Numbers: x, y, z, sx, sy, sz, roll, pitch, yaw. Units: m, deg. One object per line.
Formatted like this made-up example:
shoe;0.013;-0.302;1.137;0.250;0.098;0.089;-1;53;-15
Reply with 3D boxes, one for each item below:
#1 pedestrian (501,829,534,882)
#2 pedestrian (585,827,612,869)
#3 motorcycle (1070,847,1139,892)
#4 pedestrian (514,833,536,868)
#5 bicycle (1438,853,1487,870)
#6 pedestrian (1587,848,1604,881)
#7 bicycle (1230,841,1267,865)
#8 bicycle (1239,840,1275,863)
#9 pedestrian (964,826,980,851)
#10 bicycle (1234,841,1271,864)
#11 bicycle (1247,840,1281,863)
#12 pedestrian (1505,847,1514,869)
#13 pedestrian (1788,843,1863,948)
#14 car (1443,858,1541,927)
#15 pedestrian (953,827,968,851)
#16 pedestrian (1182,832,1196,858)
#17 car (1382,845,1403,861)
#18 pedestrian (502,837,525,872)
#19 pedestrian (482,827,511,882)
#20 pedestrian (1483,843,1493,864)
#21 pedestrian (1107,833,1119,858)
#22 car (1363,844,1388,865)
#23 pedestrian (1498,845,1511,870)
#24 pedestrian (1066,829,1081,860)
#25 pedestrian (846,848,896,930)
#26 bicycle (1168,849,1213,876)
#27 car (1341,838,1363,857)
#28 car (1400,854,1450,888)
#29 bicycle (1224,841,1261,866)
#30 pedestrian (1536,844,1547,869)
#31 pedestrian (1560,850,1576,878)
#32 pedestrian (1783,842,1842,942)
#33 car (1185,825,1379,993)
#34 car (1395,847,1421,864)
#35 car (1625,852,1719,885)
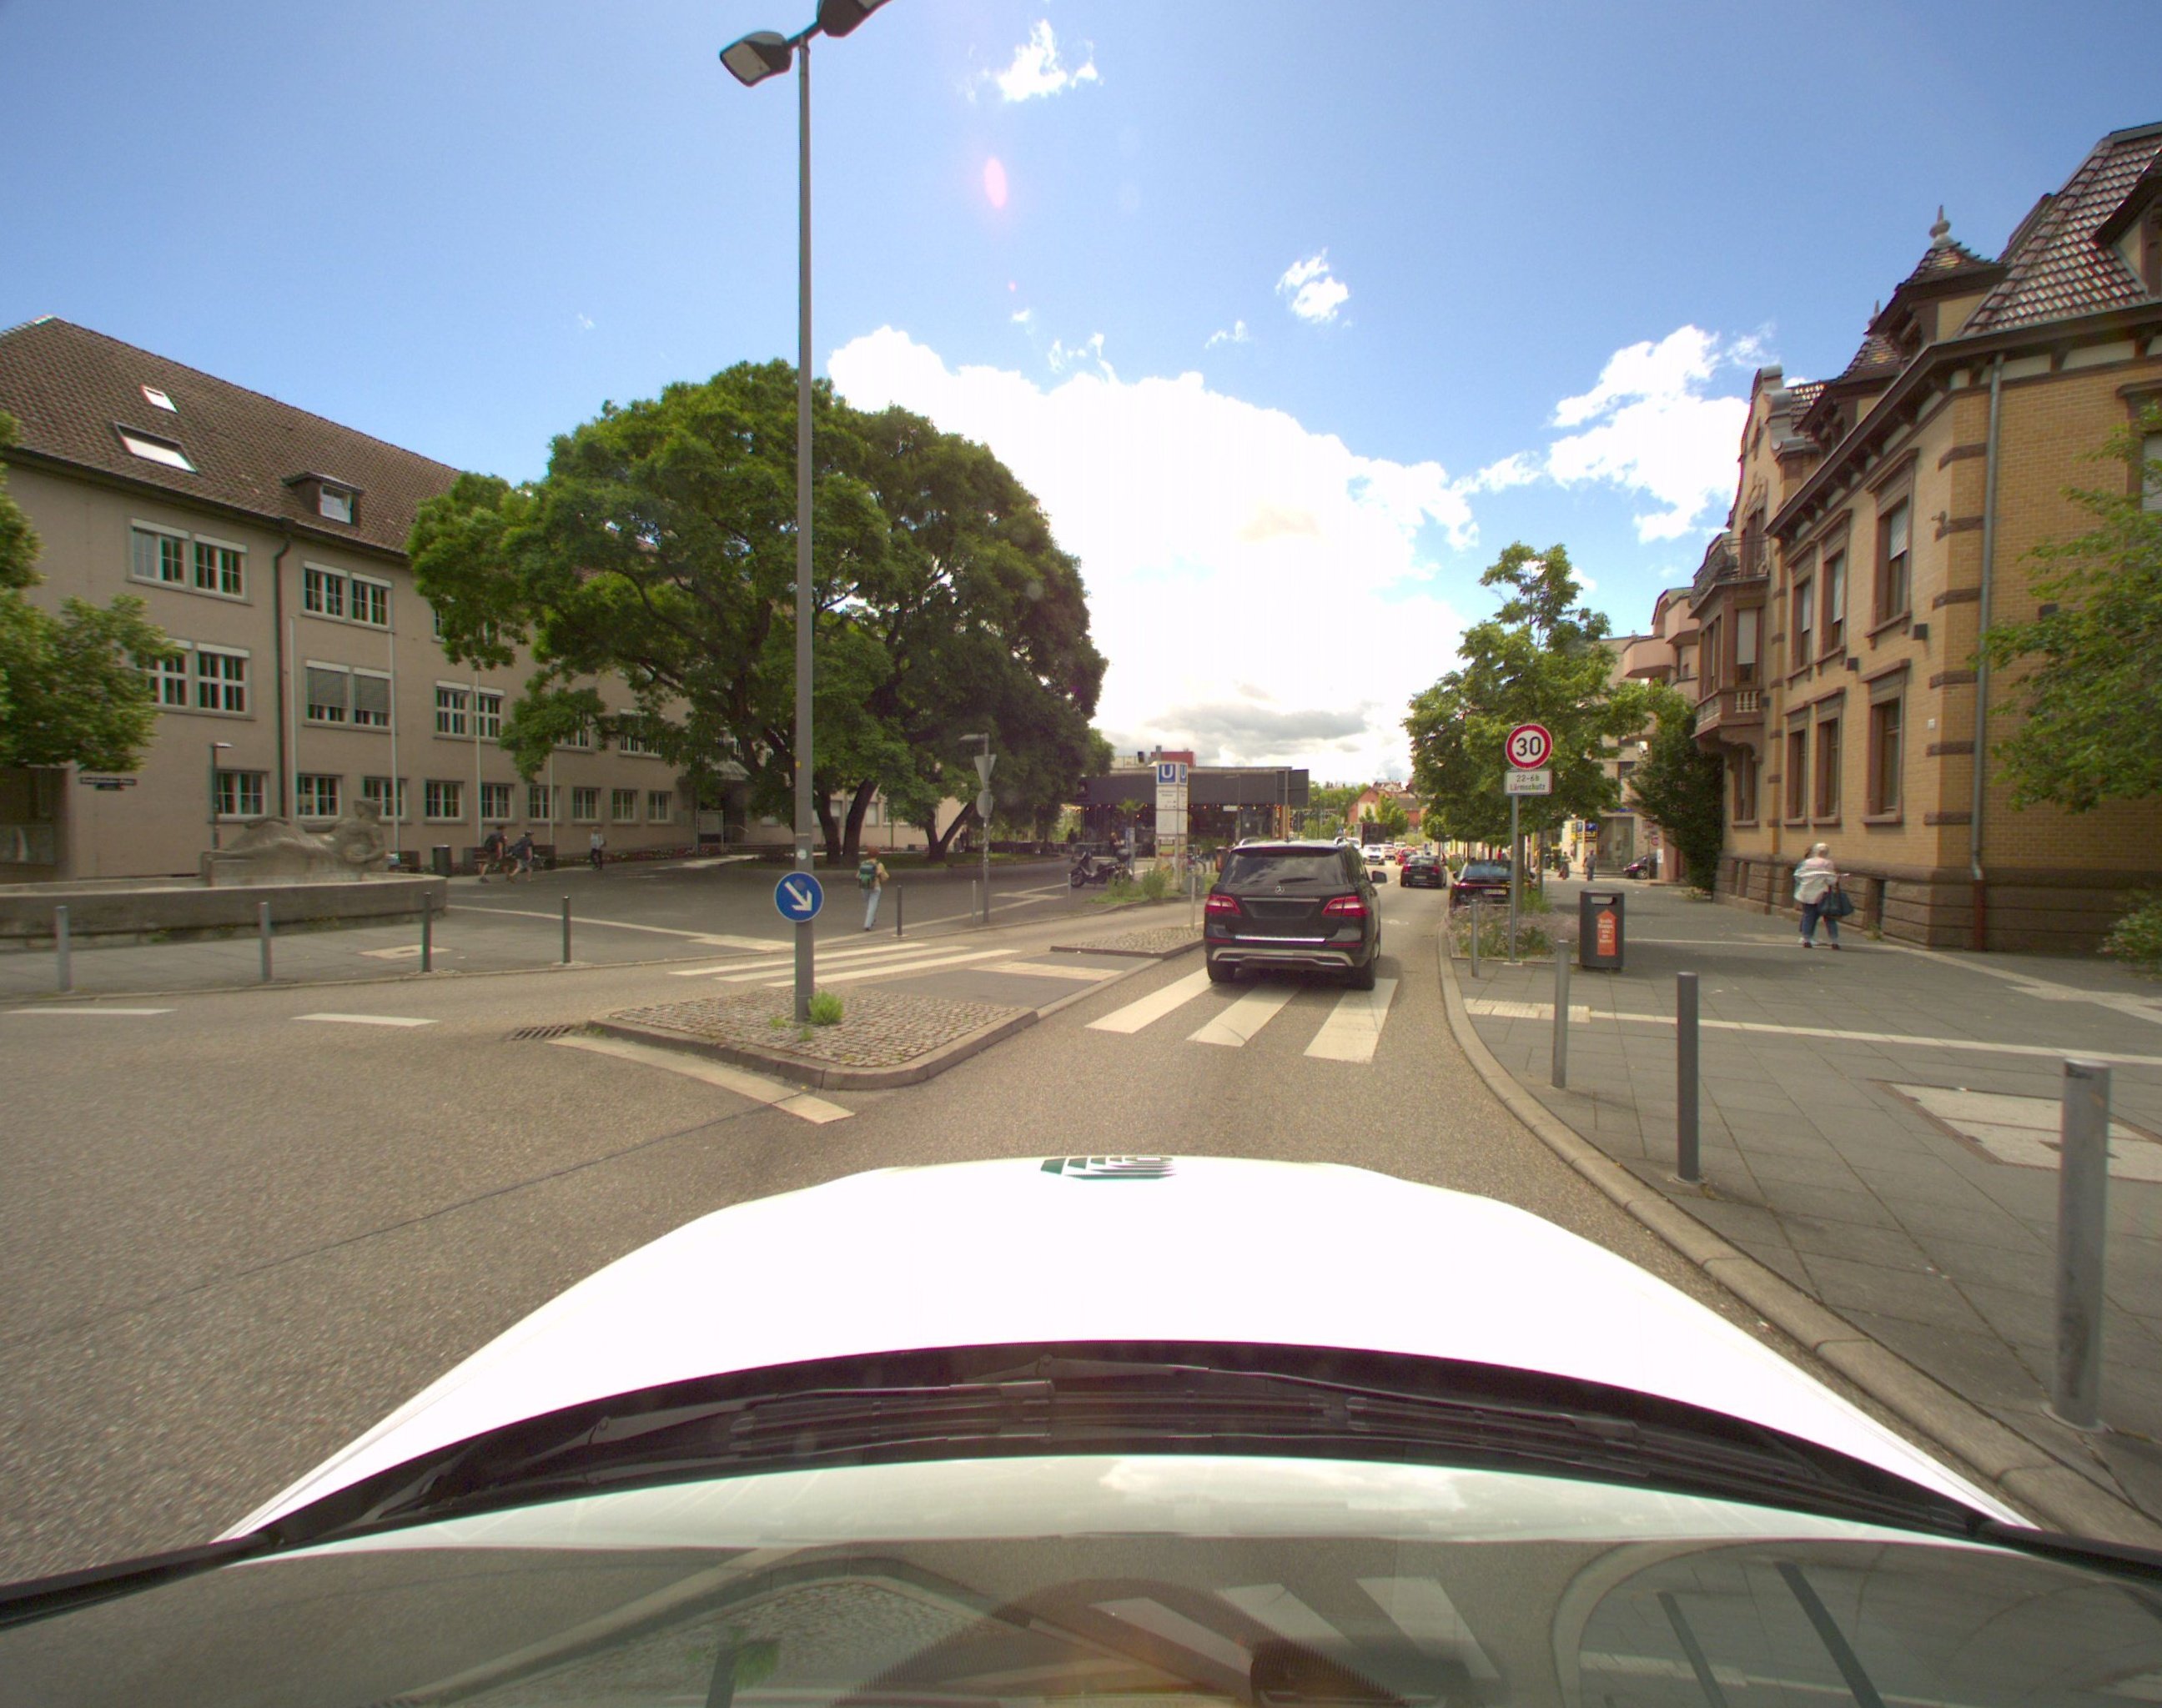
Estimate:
pedestrian;-16.863;0.036;24.380;0.570;1.523;0.642;5;3;40
pedestrian;-17.655;-0.223;29.800;0.701;1.493;0.809;1;-1;-23
motorcycle;0.718;0.461;25.371;2.112;1.289;0.587;2;3;28
pedestrian;-20.028;-0.116;29.352;0.487;1.222;0.577;1;-1;-17
bicycle;26.471;0.489;56.578;3.033;1.146;0.714;0;0;21
pedestrian;25.674;0.517;40.658;0.626;1.626;0.703;0;0;23
bicycle;7.668;-0.048;37.367;1.553;1.069;0.542;1;0;26
bicycle;8.417;-0.131;38.945;1.553;1.091;0.581;1;0;26
pedestrian;-7.149;-1.031;53.493;0.779;1.627;0.640;0;0;24
bicycle;8.031;-0.076;38.143;1.553;1.091;0.581;1;0;26
bicycle;8.928;-0.119;39.738;1.553;1.091;0.581;1;0;26
pedestrian;32.400;0.287;61.639;0.554;1.682;0.571;0;0;23
pedestrian;11.868;0.643;12.992;0.551;1.629;0.677;0;-1;-2
car;9.705;0.812;19.247;1.839;1.406;4.400;-1;0;27
pedestrian;-8.073;-1.005;54.714;0.779;1.577;0.640;0;0;24
pedestrian;6.139;-0.507;46.324;0.575;1.463;0.620;0;0;34
car;31.219;-0.095;81.731;1.825;1.524;4.020;3;2;20
pedestrian;-19.927;0.022;28.607;0.487;1.182;0.577;1;-1;-17
pedestrian;-17.645;0.014;24.594;0.432;1.608;0.578;5;3;40
pedestrian;33.052;-0.062;66.195;0.556;1.682;0.569;0;0;4
pedestrian;1.756;-0.462;44.577;0.577;1.379;0.618;0;0;13
car;24.500;0.045;67.849;1.826;1.607;4.020;3;1;19
pedestrian;28.857;0.239;55.483;0.657;1.682;0.571;0;0;19
pedestrian;-0.382;-0.467;41.129;0.609;1.577;0.585;0;0;16
pedestrian;-4.104;0.657;15.928;0.545;1.514;0.793;2;3;34
bicycle;4.093;0.313;30.520;1.596;0.997;0.503;1;0;32
car;29.004;-0.681;87.329;1.828;1.858;4.514;3;1;14
car;15.328;0.724;36.174;1.593;1.383;3.860;0;0;30
bicycle;7.277;-0.024;36.696;1.553;1.091;0.581;1;0;26
pedestrian;31.808;0.147;56.222;0.554;1.691;0.642;0;0;23
pedestrian;27.589;0.580;46.113;0.705;1.563;0.571;0;0;23
pedestrian;12.205;0.630;13.600;0.501;1.629;0.511;0;-1;7
car;2.879;0.571;10.823;2.010;1.727;4.456;0;0;20
car;27.191;0.141;67.805;1.597;1.383;3.852;0;0;15
car;33.287;0.789;45.994;3.952;1.566;1.857;3;1;24
